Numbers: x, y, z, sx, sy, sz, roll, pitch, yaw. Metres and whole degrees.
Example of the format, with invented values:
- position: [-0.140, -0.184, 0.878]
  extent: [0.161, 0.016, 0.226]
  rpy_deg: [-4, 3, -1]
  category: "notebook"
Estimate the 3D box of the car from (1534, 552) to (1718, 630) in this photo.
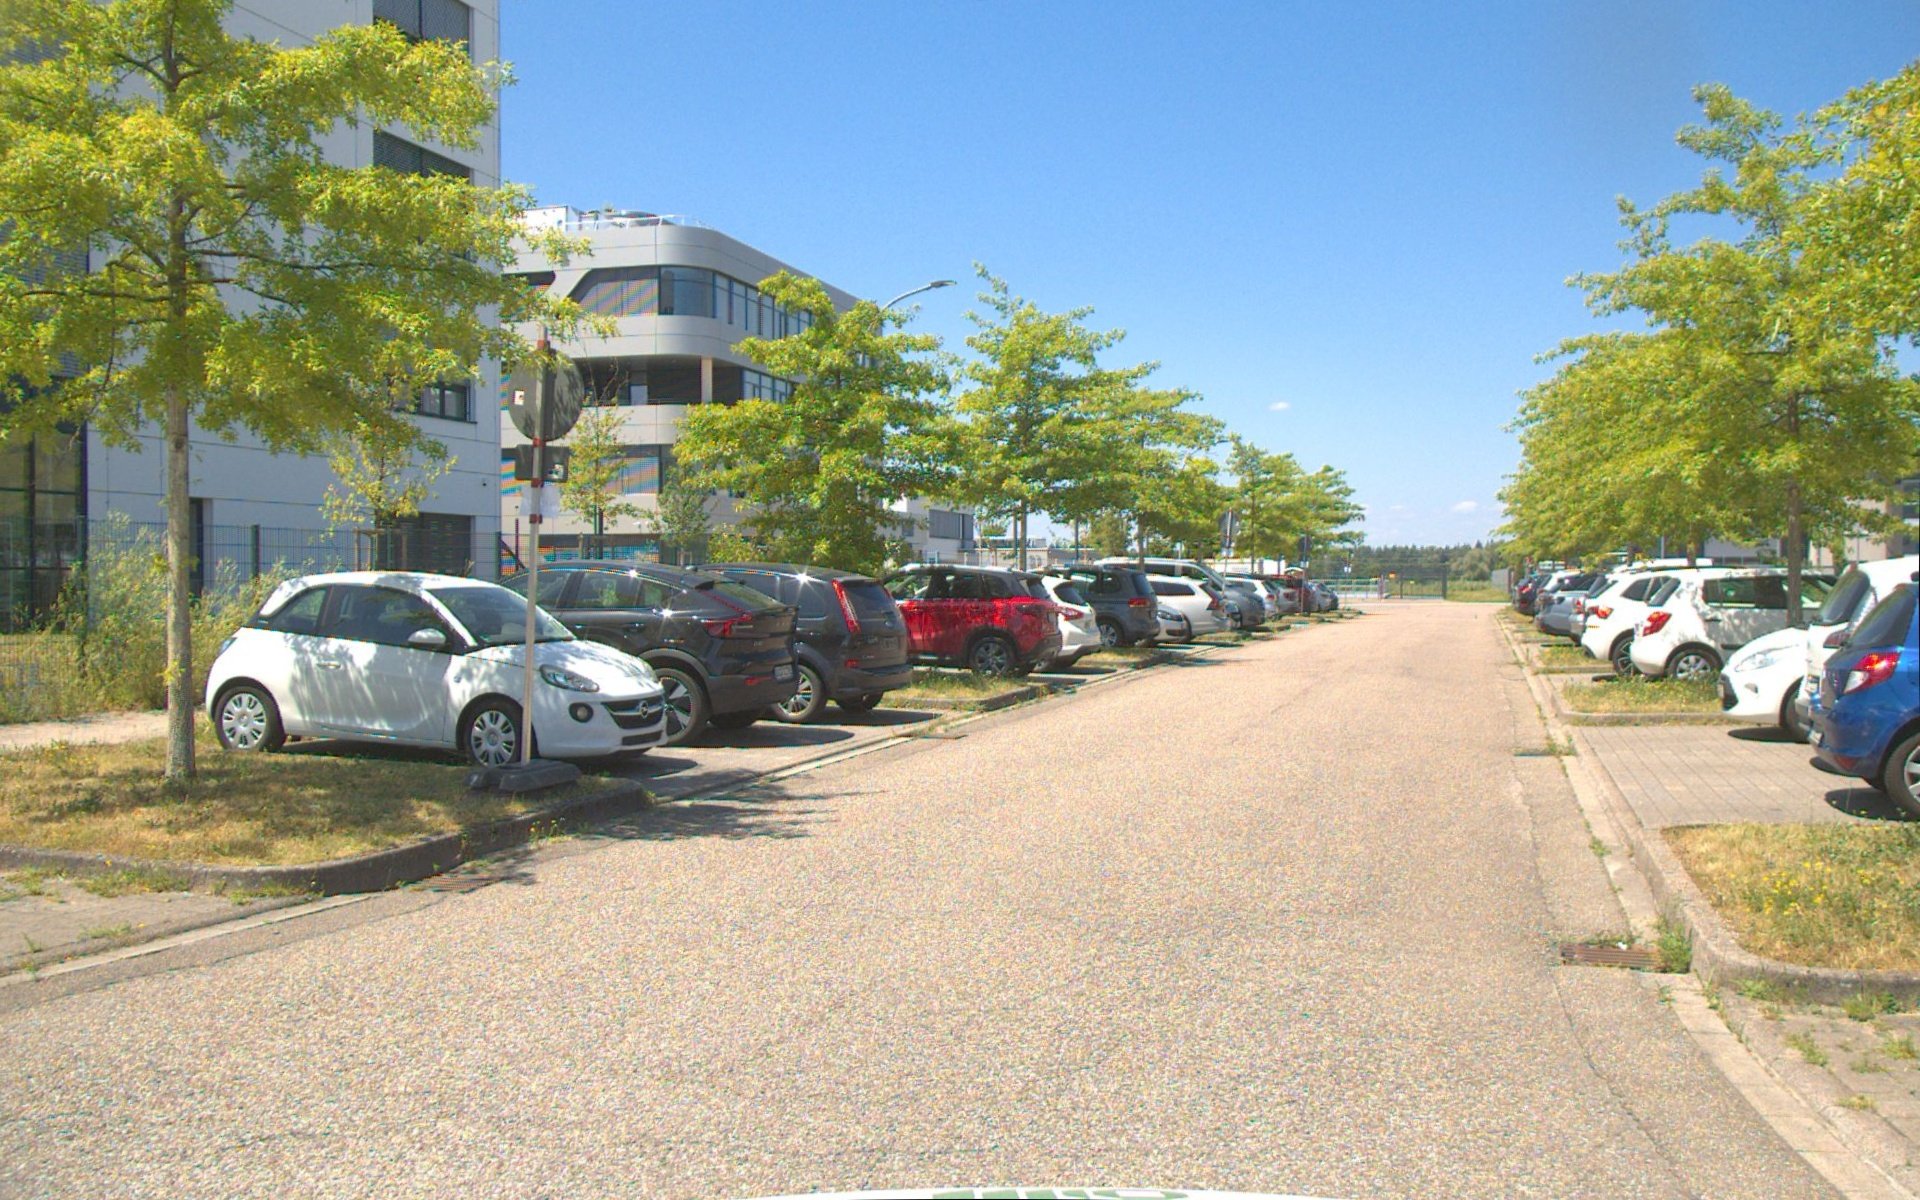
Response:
- position: [17.312, -0.223, 43.193]
  extent: [4.311, 1.862, 1.796]
  rpy_deg: [-2, 0, 19]
  category: "car"

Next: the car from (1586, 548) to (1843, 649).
- position: [13.377, -0.020, 29.558]
  extent: [3.962, 1.653, 1.694]
  rpy_deg: [-2, 0, 18]
  category: "car"

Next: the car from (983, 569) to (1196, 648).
- position: [2.758, 0.146, 35.046]
  extent: [4.220, 1.499, 1.729]
  rpy_deg: [2, 2, 15]
  category: "car"

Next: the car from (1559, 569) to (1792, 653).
- position: [13.756, 0.205, 32.030]
  extent: [3.962, 1.478, 1.646]
  rpy_deg: [-2, 0, 18]
  category: "car"

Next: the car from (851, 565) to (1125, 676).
- position: [0.468, 0.282, 26.884]
  extent: [4.085, 1.539, 1.808]
  rpy_deg: [2, 3, 19]
  category: "car"

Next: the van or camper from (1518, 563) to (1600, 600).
- position: [38.199, -1.173, 105.582]
  extent: [4.832, 2.202, 2.001]
  rpy_deg: [1, -2, 17]
  category: "van or camper"

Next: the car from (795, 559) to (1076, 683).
- position: [-0.331, 0.259, 24.249]
  extent: [3.757, 1.619, 1.729]
  rpy_deg: [2, 2, 15]
  category: "car"

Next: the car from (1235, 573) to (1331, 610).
- position: [14.172, -0.381, 72.430]
  extent: [3.989, 1.448, 1.875]
  rpy_deg: [2, 1, 14]
  category: "car"

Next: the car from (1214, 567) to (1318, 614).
- position: [11.707, -0.378, 63.270]
  extent: [3.659, 1.649, 1.817]
  rpy_deg: [2, 1, 18]
  category: "car"

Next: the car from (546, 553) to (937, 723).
- position: [-2.351, 0.351, 18.016]
  extent: [3.824, 1.619, 1.729]
  rpy_deg: [2, 2, 17]
  category: "car"

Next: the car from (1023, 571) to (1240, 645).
- position: [3.884, 0.140, 37.300]
  extent: [4.613, 1.472, 1.859]
  rpy_deg: [2, 2, 14]
  category: "car"

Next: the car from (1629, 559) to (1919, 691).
- position: [10.451, 0.297, 20.624]
  extent: [3.754, 1.551, 1.780]
  rpy_deg: [-1, 1, 18]
  category: "car"

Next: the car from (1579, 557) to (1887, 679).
- position: [10.710, 0.234, 23.153]
  extent: [3.757, 1.580, 1.779]
  rpy_deg: [-1, 1, 23]
  category: "car"

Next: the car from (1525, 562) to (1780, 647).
- position: [14.315, 0.089, 34.476]
  extent: [4.615, 1.588, 1.915]
  rpy_deg: [-2, 0, 14]
  category: "car"

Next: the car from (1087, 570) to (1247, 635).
- position: [5.478, 0.045, 43.587]
  extent: [3.886, 1.509, 1.765]
  rpy_deg: [2, 2, 18]
  category: "car"

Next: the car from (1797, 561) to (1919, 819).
- position: [7.449, 0.461, 10.150]
  extent: [3.914, 1.516, 1.728]
  rpy_deg: [-3, 0, 22]
  category: "car"

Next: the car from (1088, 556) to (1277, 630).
- position: [6.290, -0.233, 46.715]
  extent: [4.964, 1.924, 1.998]
  rpy_deg: [2, 1, 19]
  category: "car"

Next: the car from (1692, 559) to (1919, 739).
- position: [8.731, 0.380, 14.985]
  extent: [3.540, 1.488, 1.612]
  rpy_deg: [-3, 0, 13]
  category: "car"

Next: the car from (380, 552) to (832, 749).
- position: [-3.305, 0.404, 15.710]
  extent: [3.757, 1.621, 1.831]
  rpy_deg: [2, 2, 14]
  category: "car"

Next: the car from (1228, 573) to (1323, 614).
- position: [12.560, -0.274, 65.745]
  extent: [3.579, 1.535, 1.733]
  rpy_deg: [2, 1, 14]
  category: "car"

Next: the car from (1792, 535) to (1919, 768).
- position: [8.511, 0.287, 12.228]
  extent: [4.026, 1.679, 1.774]
  rpy_deg: [-3, 0, 23]
  category: "car"

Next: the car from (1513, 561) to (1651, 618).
- position: [20.329, -0.333, 54.226]
  extent: [4.085, 1.726, 1.783]
  rpy_deg: [-2, 0, 17]
  category: "car"

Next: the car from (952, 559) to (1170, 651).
- position: [2.030, 0.060, 33.082]
  extent: [4.031, 1.663, 1.729]
  rpy_deg: [2, 2, 17]
  category: "car"

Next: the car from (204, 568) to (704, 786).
- position: [-3.999, 0.528, 13.223]
  extent: [3.431, 1.466, 1.729]
  rpy_deg: [2, 2, 17]
  category: "car"

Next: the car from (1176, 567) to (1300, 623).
- position: [9.220, -0.183, 54.769]
  extent: [3.902, 1.707, 1.779]
  rpy_deg: [2, 1, 13]
  category: "car"

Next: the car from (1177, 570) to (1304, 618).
- position: [9.708, -0.222, 57.188]
  extent: [4.106, 1.506, 1.713]
  rpy_deg: [2, 1, 18]
  category: "car"

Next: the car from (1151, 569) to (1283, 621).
- position: [8.153, -0.167, 52.403]
  extent: [3.952, 1.486, 1.606]
  rpy_deg: [2, 1, 15]
  category: "car"
